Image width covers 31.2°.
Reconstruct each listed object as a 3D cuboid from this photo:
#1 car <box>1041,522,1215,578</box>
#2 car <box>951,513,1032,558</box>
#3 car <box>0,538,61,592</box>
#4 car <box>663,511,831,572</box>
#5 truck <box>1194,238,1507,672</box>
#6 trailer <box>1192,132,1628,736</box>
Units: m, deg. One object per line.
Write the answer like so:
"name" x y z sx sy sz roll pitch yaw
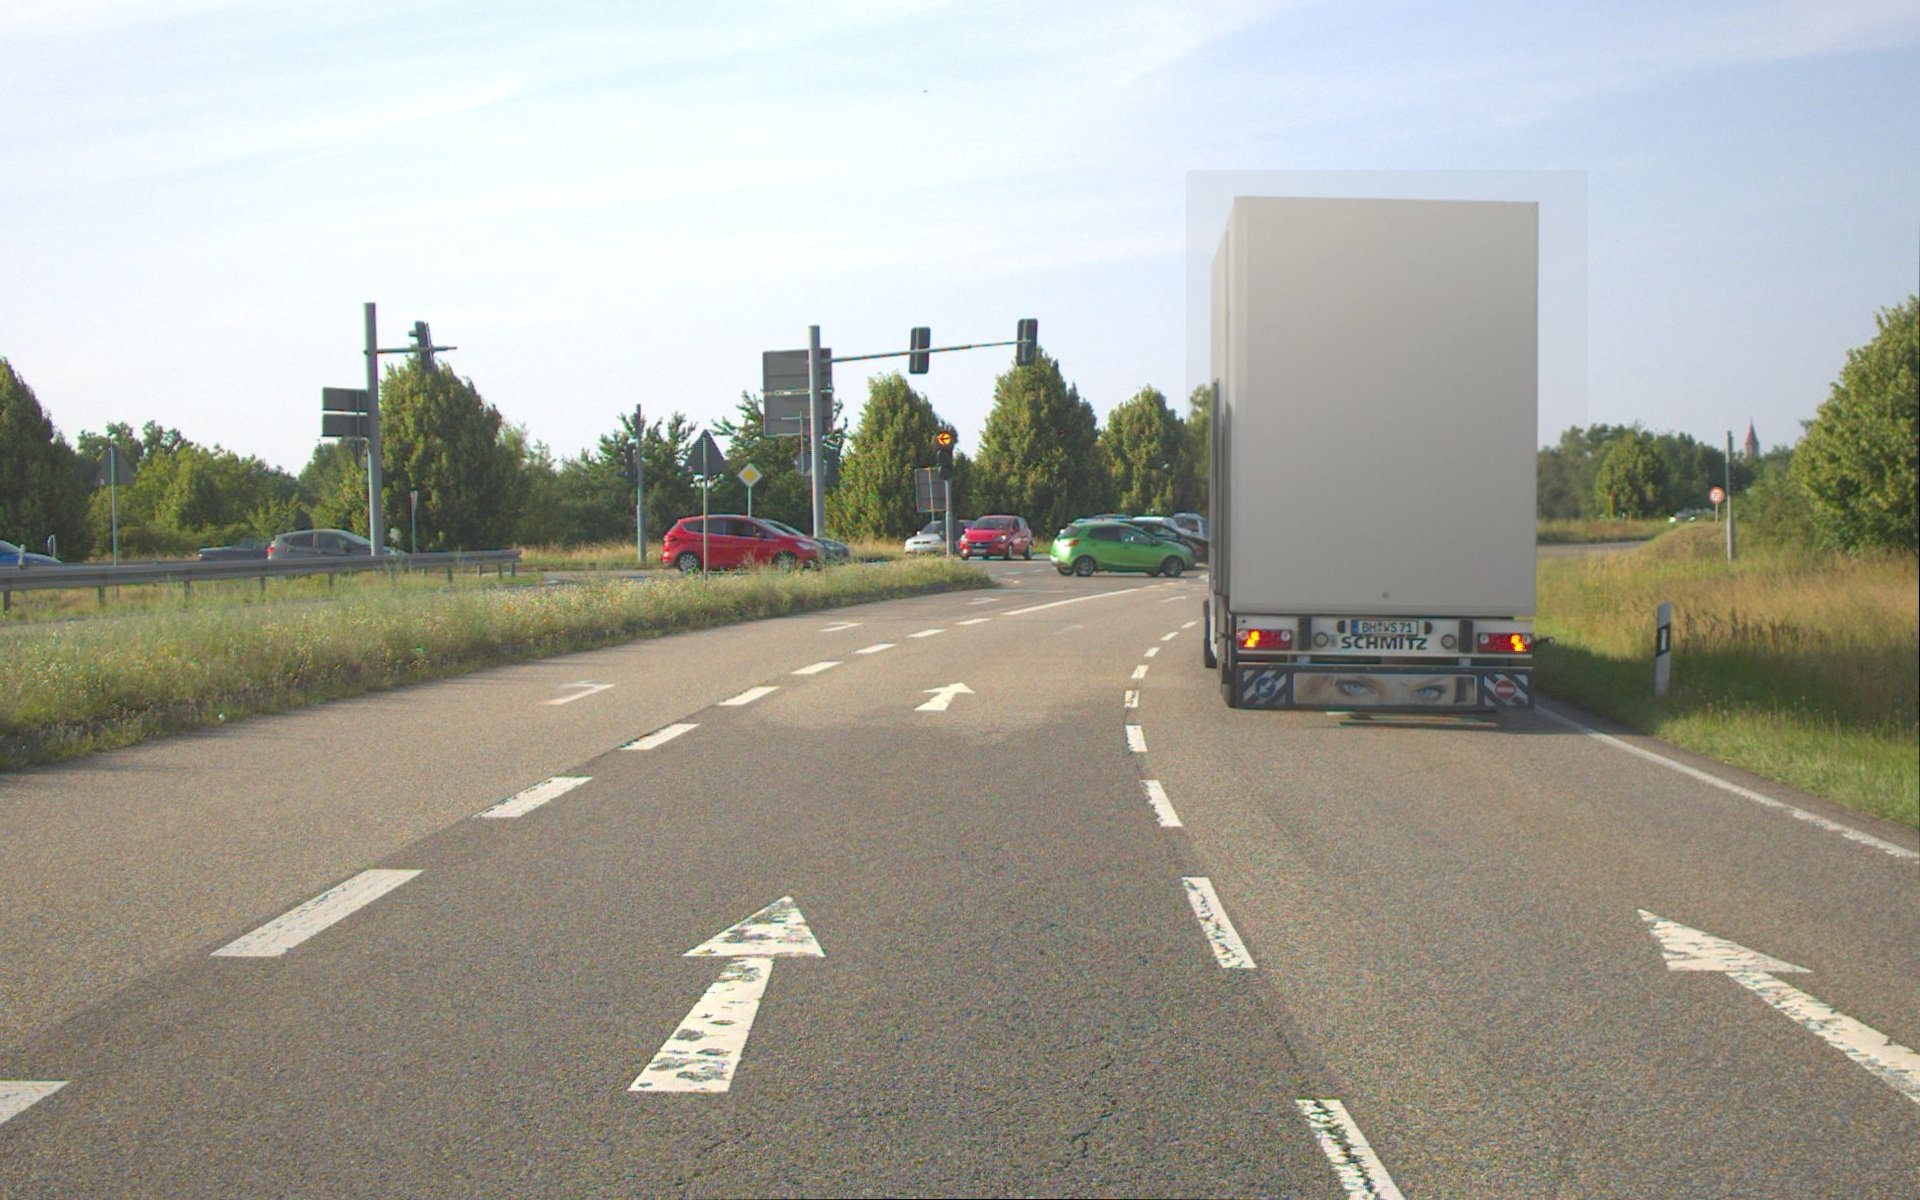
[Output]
"car" 4.477 -1.340 92.068 4.421 1.412 1.921 1 0 -5
"car" 1.081 -2.171 115.471 1.722 1.483 3.801 0 1 17
"car" -27.641 -1.012 97.107 3.974 1.487 1.777 1 1 14
"car" -5.727 -1.573 92.822 4.265 1.559 1.901 1 0 6
"truck" 4.409 -1.626 40.012 3.300 4.641 5.731 1 1 4
"trailer" 3.935 -1.458 33.297 3.282 4.665 13.146 1 1 4
